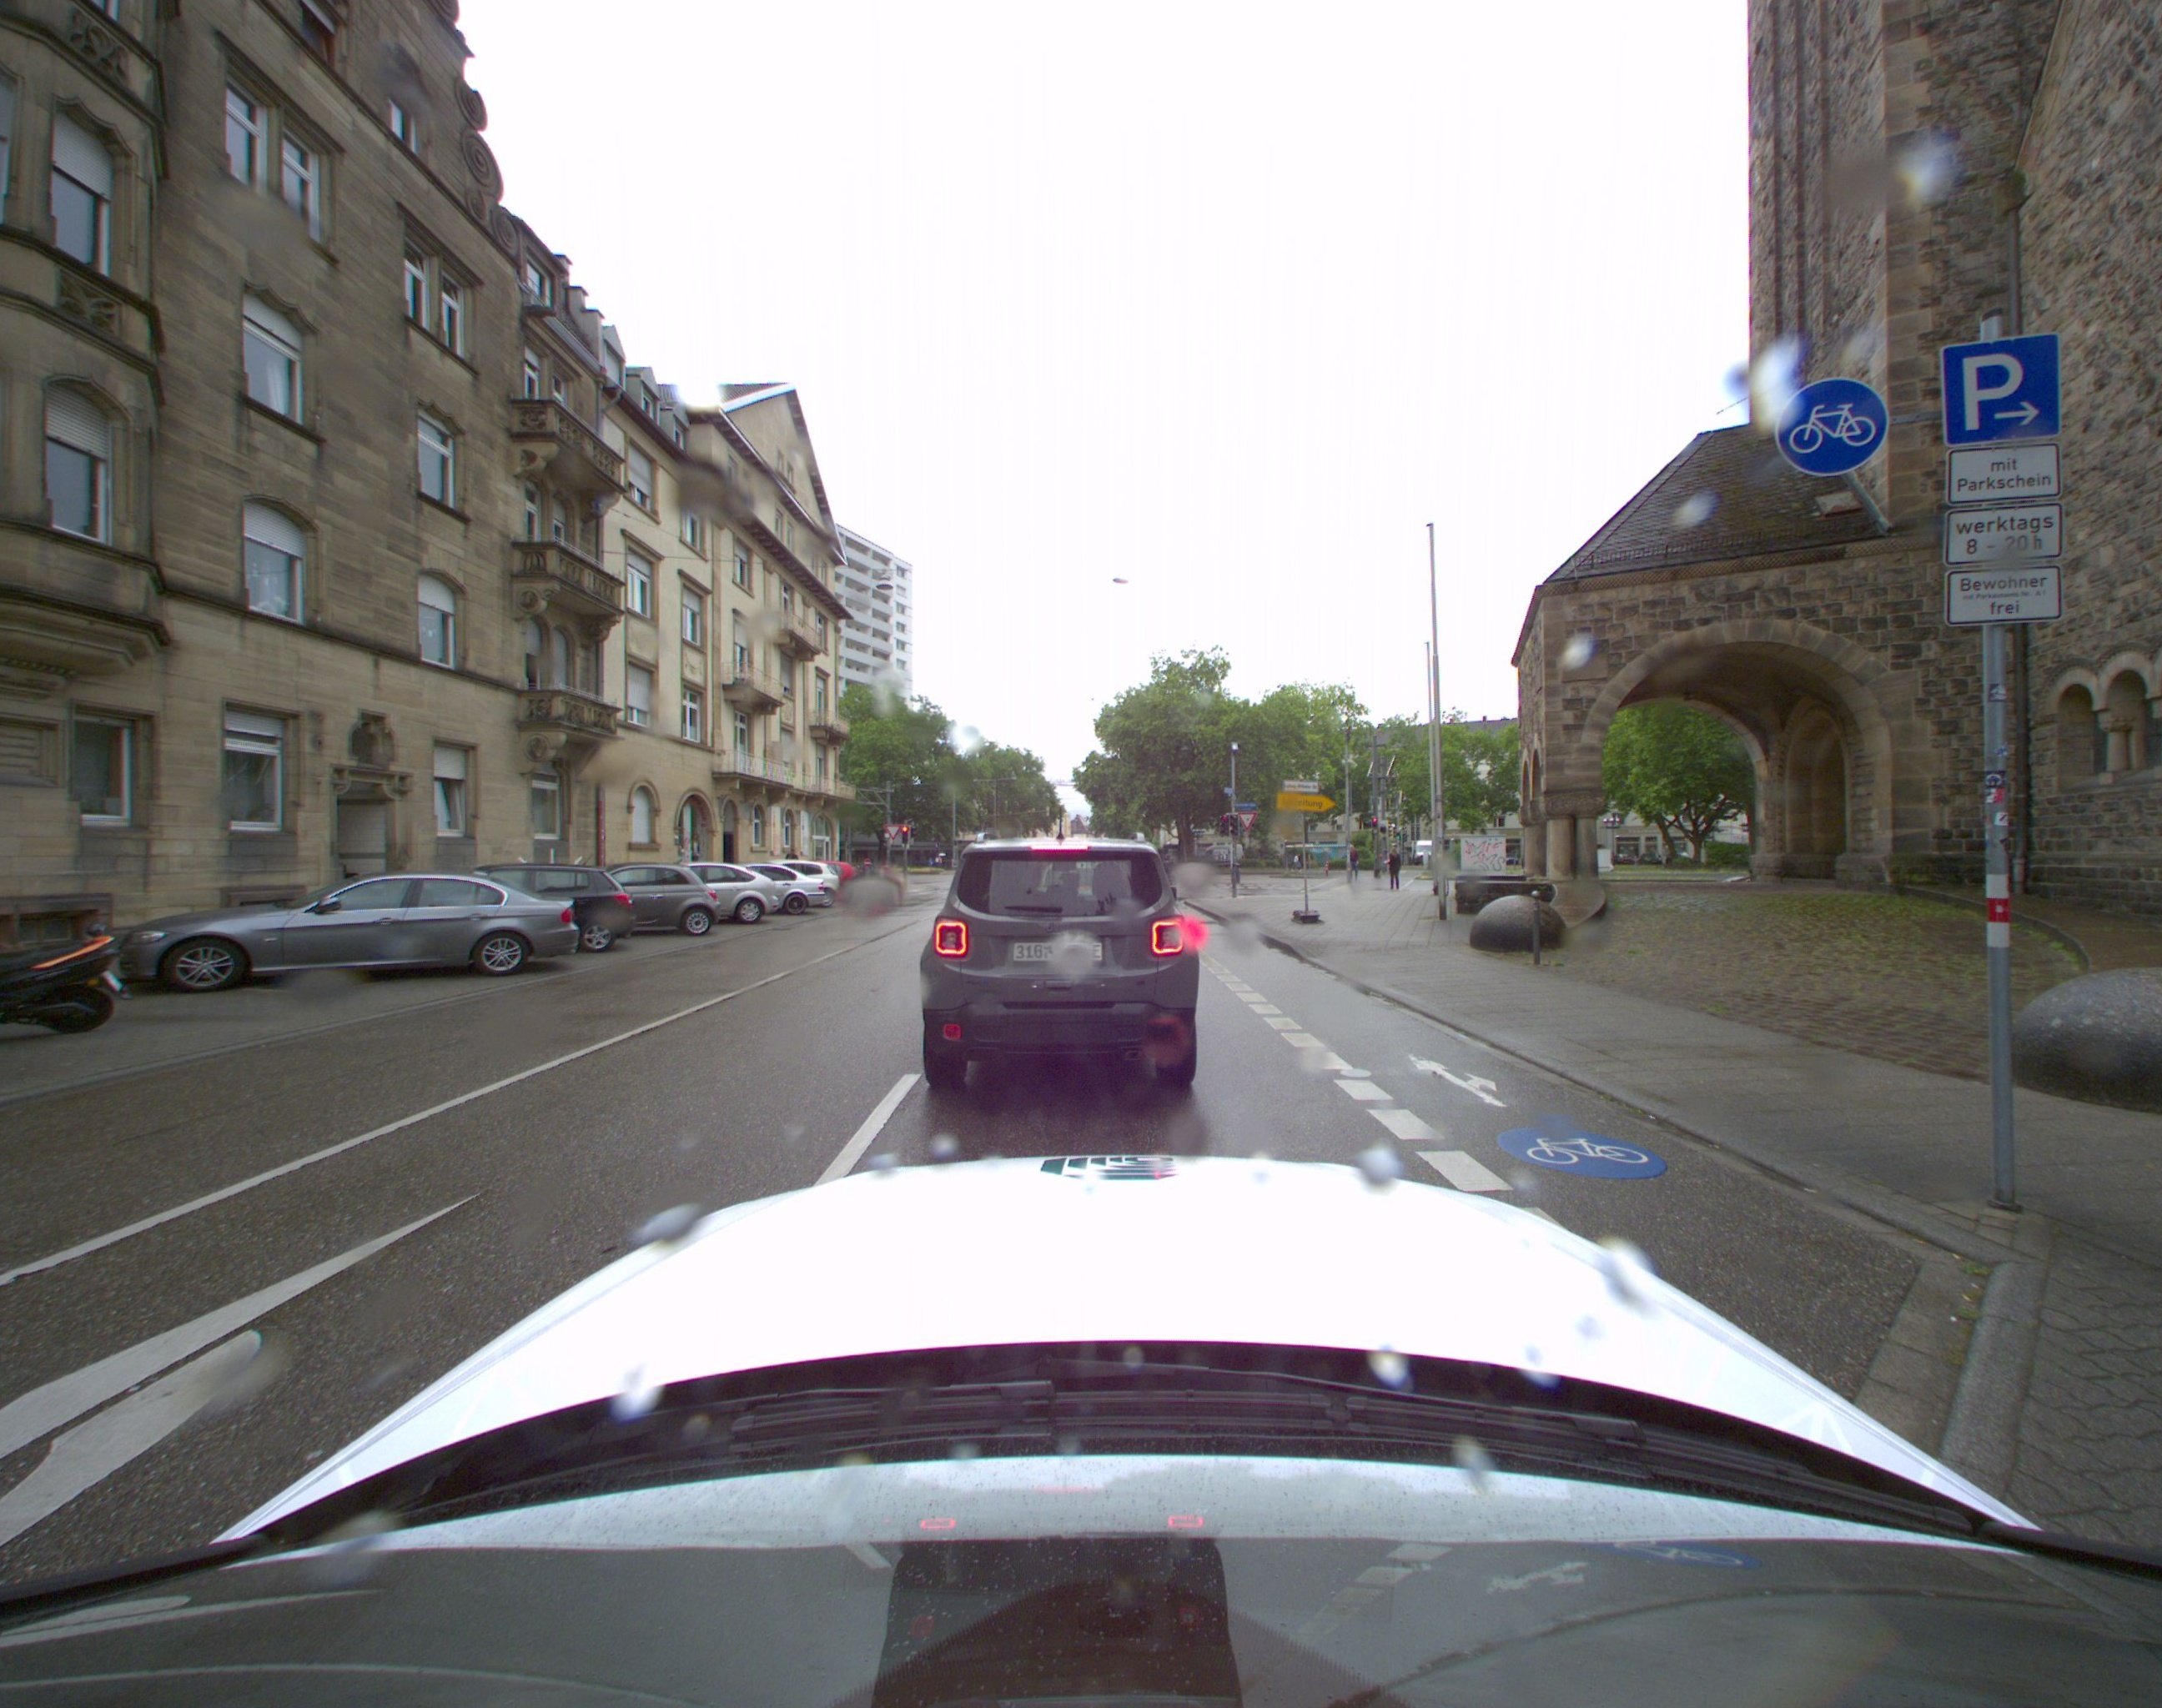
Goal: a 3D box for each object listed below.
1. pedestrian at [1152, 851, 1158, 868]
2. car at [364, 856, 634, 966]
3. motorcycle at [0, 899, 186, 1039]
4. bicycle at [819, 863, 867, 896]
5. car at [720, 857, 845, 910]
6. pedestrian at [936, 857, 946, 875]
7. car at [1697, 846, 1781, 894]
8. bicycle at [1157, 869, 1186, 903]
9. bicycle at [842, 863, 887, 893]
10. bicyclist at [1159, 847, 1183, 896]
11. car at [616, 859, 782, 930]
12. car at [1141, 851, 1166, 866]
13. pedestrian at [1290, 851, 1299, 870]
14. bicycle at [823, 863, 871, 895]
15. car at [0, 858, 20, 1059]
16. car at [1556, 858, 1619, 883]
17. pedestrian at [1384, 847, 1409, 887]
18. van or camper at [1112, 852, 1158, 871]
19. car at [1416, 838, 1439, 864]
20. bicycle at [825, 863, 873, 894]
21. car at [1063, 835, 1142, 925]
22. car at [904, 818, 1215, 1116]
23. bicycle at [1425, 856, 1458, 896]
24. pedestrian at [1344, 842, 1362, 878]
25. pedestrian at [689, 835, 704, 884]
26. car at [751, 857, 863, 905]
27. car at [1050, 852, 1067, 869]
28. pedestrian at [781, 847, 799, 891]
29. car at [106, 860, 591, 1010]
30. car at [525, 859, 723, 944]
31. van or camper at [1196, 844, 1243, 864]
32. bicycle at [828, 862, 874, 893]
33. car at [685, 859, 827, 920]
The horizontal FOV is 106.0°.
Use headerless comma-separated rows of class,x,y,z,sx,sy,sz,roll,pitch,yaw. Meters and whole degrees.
pedestrian,8.480,0.627,93.078,0.646,2.013,0.484,-1,0,14
car,-9.771,0.862,13.883,3.570,1.598,1.587,-1,0,-38
motorcycle,-9.393,0.997,7.186,1.880,1.162,0.627,2,-2,-36
bicycle,-9.560,1.013,32.756,1.758,1.266,0.522,-1,0,-1
car,-9.512,0.892,26.016,3.419,1.558,1.686,-1,0,-38
pedestrian,-14.182,1.231,82.485,0.686,1.826,0.623,-1,0,17
car,21.449,0.483,26.660,1.389,1.479,3.239,-1,0,25
bicycle,3.058,1.063,27.590,0.689,1.021,2.658,-2,0,1
bicycle,-9.531,1.046,35.895,1.758,1.266,0.608,-1,0,-1
bicyclist,3.042,0.581,27.625,0.684,1.617,0.884,-2,0,0
car,-9.353,0.930,20.012,3.419,1.558,1.686,-1,0,-38
car,10.733,0.641,119.890,3.411,2.014,1.554,-2,-1,15
pedestrian,17.747,0.547,67.580,0.607,1.603,0.497,-1,0,26
bicycle,-9.562,1.006,33.304,1.804,1.266,0.498,-1,0,-1
car,-9.648,0.834,4.638,4.064,1.555,1.778,-1,0,-39
car,33.269,1.106,53.591,3.404,1.552,1.603,-1,0,27
pedestrian,13.272,0.557,34.235,0.779,1.645,0.656,-1,0,5
van or camper,8.313,1.162,125.170,6.466,2.912,2.509,-1,0,26
car,35.581,-0.345,83.586,1.889,2.555,4.815,-1,0,25
bicycle,-9.672,1.017,33.990,1.804,1.266,0.498,-1,0,-1
car,0.531,0.581,20.333,1.764,2.013,4.001,-1,0,1
car,-0.098,0.658,6.686,1.769,1.687,3.848,-2,0,1
bicycle,11.069,0.660,25.052,0.327,1.154,2.079,-1,0,7
pedestrian,13.793,0.310,41.302,0.780,1.759,0.949,-2,0,16
pedestrian,-14.316,0.213,30.348,0.365,1.823,0.347,-1,-1,-1
car,-9.711,0.924,28.985,3.419,1.558,1.686,-1,0,-38
car,-2.357,0.690,85.147,1.717,1.739,3.726,-1,0,-2
pedestrian,-13.406,0.679,37.533,0.565,2.013,0.655,-1,0,1
car,-9.393,0.899,10.961,4.573,1.545,1.668,-1,0,-42
car,-9.488,0.911,16.996,3.419,1.558,1.634,-1,0,-38
van or camper,16.143,-0.051,95.026,5.234,2.315,2.093,0,0,5
bicycle,-9.873,1.006,35.024,1.758,1.266,0.608,-1,0,-1
car,-9.229,0.955,23.208,3.419,1.558,1.686,-1,0,-38
